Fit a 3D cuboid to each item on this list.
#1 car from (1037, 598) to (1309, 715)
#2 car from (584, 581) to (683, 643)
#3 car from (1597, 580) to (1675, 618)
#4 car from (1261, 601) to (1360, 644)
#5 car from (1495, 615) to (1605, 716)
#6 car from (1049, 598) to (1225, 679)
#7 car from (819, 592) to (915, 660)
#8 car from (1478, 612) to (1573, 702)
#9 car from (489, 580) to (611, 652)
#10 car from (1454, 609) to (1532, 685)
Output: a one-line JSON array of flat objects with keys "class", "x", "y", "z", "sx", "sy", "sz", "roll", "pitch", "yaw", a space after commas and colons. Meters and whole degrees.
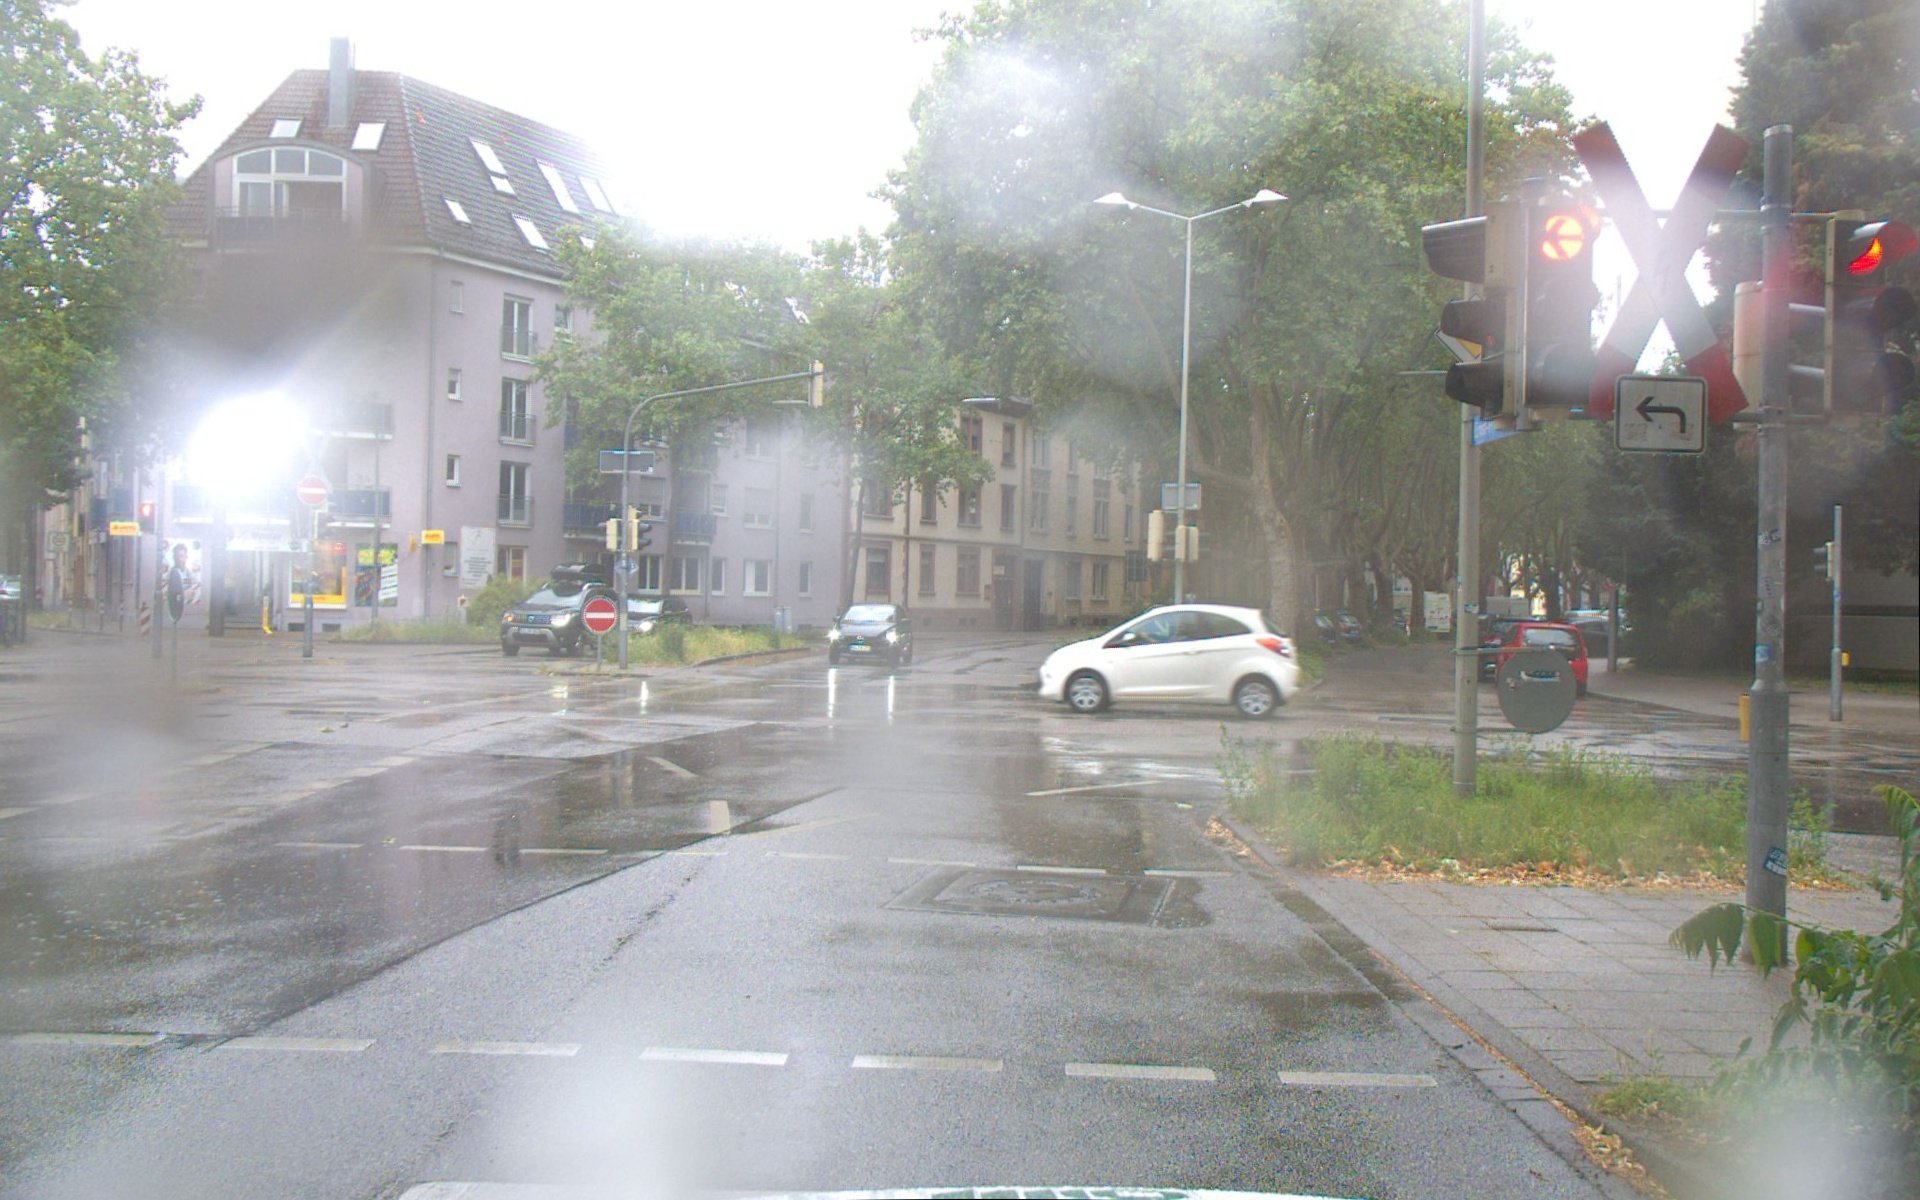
[{"class": "car", "x": 2.956, "y": 0.748, "z": 22.702, "sx": 3.563, "sy": 1.512, "sz": 1.726, "roll": 0, "pitch": 0, "yaw": 11}, {"class": "car", "x": -8.780, "y": 0.300, "z": 44.752, "sx": 1.688, "sy": 1.579, "sz": 3.562, "roll": 0, "pitch": 0, "yaw": 5}, {"class": "car", "x": 37.783, "y": -0.044, "z": 92.526, "sx": 3.903, "sy": 2.049, "sz": 1.708, "roll": 0, "pitch": 0, "yaw": 19}, {"class": "car", "x": 13.893, "y": 0.882, "z": 65.530, "sx": 3.537, "sy": 1.646, "sz": 1.679, "roll": 0, "pitch": 0, "yaw": 28}, {"class": "car", "x": 12.992, "y": 1.388, "z": 36.621, "sx": 1.951, "sy": 2.049, "sz": 4.003, "roll": 0, "pitch": 0, "yaw": 15}, {"class": "car", "x": 3.541, "y": 0.763, "z": 32.991, "sx": 3.405, "sy": 1.550, "sz": 1.521, "roll": 0, "pitch": 0, "yaw": 8}, {"class": "car", "x": -2.227, "y": 0.598, "z": 40.599, "sx": 1.568, "sy": 1.579, "sz": 3.563, "roll": 0, "pitch": 0, "yaw": 10}, {"class": "car", "x": 13.965, "y": 1.352, "z": 41.023, "sx": 1.951, "sy": 2.049, "sz": 4.003, "roll": 0, "pitch": 0, "yaw": 15}, {"class": "car", "x": -9.524, "y": 0.345, "z": 38.654, "sx": 1.688, "sy": 1.579, "sz": 3.562, "roll": 0, "pitch": 0, "yaw": 5}, {"class": "car", "x": 15.456, "y": 1.318, "z": 48.081, "sx": 1.951, "sy": 2.049, "sz": 4.003, "roll": 0, "pitch": 0, "yaw": 15}]
